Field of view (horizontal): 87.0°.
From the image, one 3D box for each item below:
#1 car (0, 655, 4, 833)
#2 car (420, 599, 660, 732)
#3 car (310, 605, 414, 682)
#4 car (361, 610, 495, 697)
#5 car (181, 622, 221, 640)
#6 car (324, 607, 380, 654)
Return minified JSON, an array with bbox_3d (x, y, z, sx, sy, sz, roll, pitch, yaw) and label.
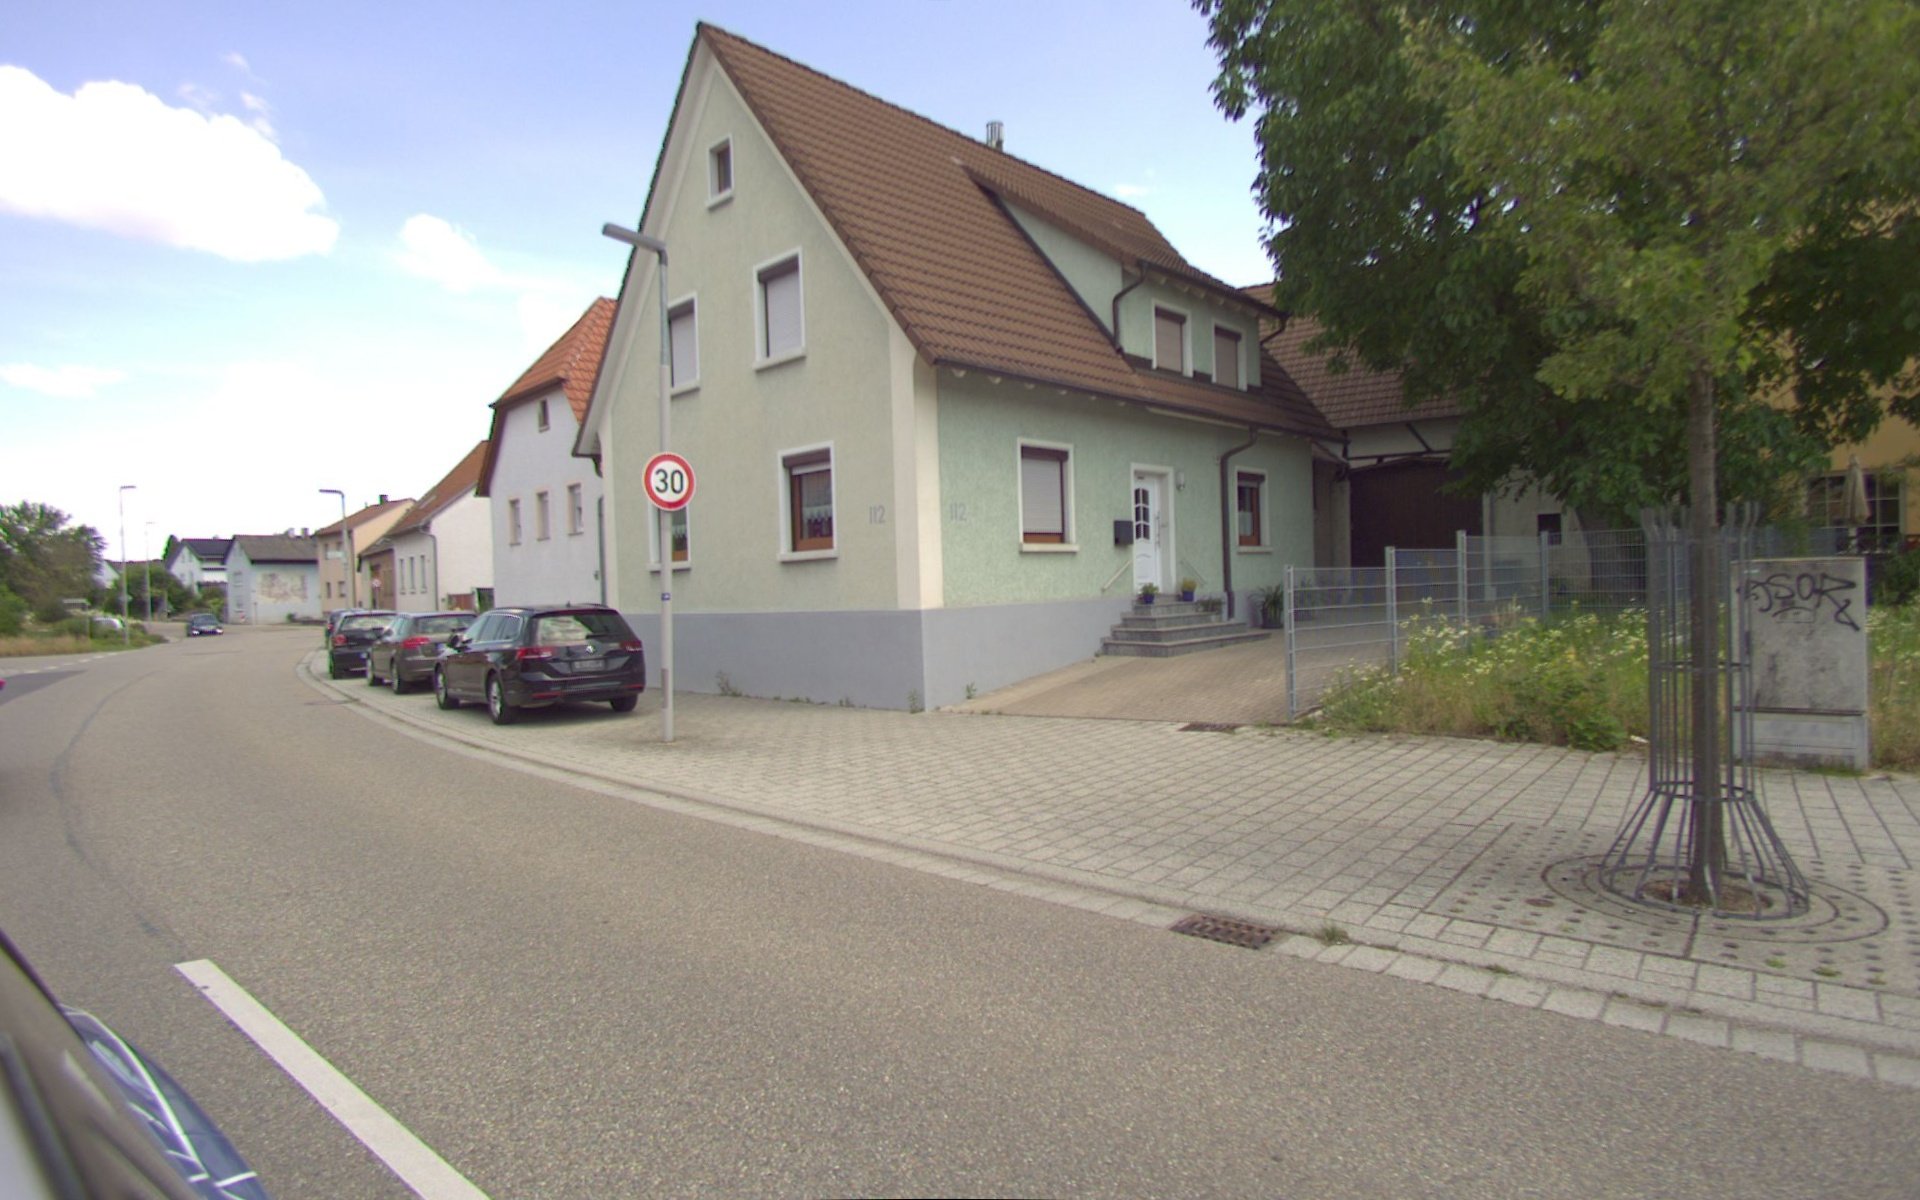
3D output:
[{"bbox_3d":[-8.672,0.943,7.564,3.884,1.422,1.760,-1,0,40],"label":"car"},{"bbox_3d":[-5.911,0.772,13.914,1.711,1.501,4.507,-1,0,-41],"label":"car"},{"bbox_3d":[-13.742,0.918,23.170,1.634,1.574,3.700,-1,0,-37],"label":"car"},{"bbox_3d":[-9.998,0.913,18.904,1.634,1.406,3.700,-1,0,-37],"label":"car"},{"bbox_3d":[-54.184,2.208,72.249,1.969,1.198,4.005,-1,0,-41],"label":"car"},{"bbox_3d":[-22.514,1.089,37.581,1.632,1.586,3.703,-1,0,-29],"label":"car"}]
